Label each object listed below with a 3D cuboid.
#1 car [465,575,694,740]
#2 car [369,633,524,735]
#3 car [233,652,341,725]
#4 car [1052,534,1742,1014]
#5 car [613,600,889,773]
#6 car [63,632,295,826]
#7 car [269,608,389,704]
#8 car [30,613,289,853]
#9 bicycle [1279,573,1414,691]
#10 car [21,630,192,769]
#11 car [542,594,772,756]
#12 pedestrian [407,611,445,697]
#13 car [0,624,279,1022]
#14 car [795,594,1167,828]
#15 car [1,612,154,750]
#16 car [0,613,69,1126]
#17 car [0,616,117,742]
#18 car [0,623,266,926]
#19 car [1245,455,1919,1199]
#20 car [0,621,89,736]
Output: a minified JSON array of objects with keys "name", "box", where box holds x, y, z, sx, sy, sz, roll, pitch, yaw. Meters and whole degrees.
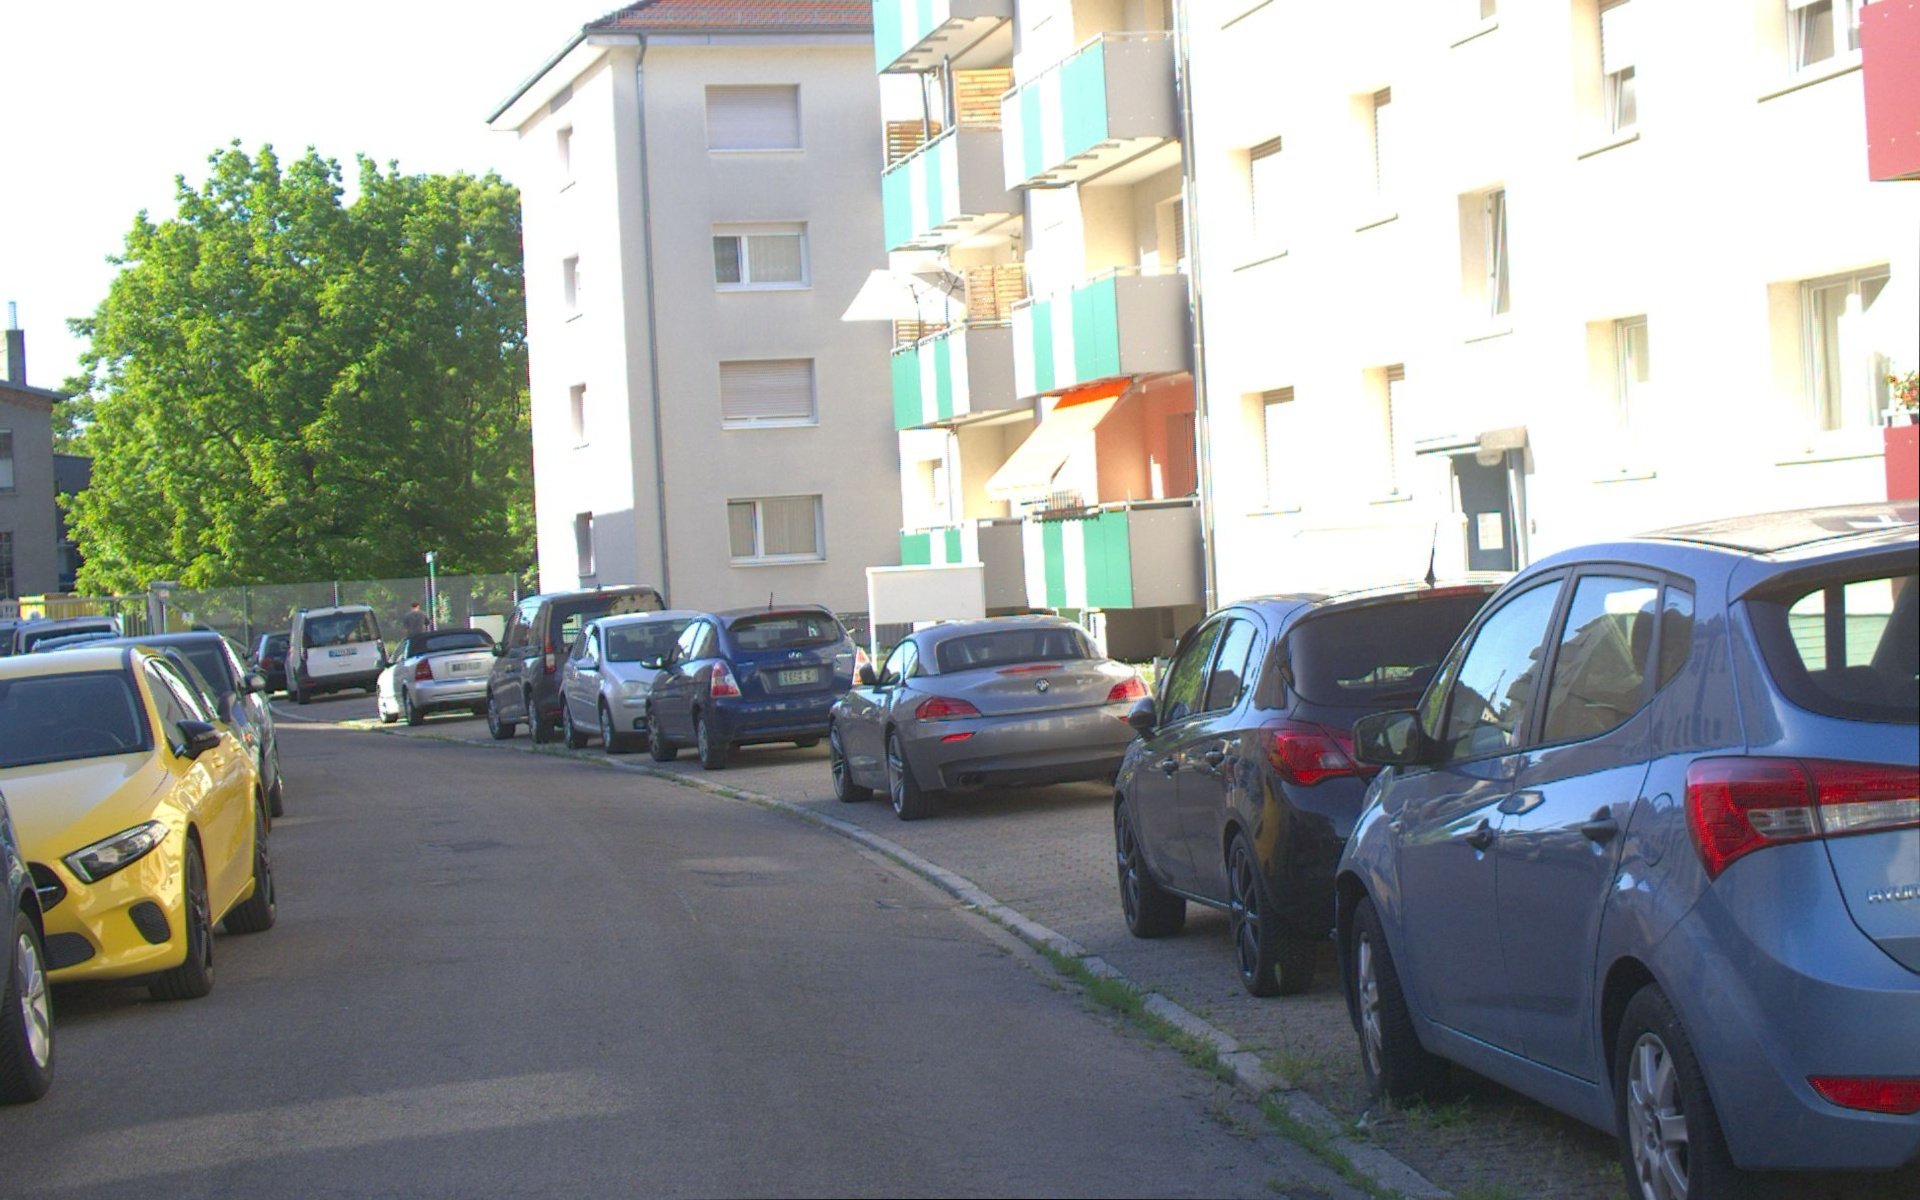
[{"name":"car","box":[-4.811,0.756,42.971,1.896,1.849,4.344,-3,-1,-18]},{"name":"car","box":[-7.974,1.268,53.092,1.717,1.359,4.056,-5,1,-17]},{"name":"car","box":[-14.384,1.895,73.317,1.765,1.358,4.095,-5,0,-17]},{"name":"car","box":[1.590,0.619,13.939,1.735,1.503,3.886,-6,0,-7]},{"name":"car","box":[-2.107,0.836,33.383,1.737,1.427,4.357,-5,0,-15]},{"name":"car","box":[-6.926,1.110,30.642,1.743,1.426,4.599,-5,0,-12]},{"name":"car","box":[-12.615,1.137,68.595,1.765,1.734,4.095,-5,0,-17]},{"name":"car","box":[-5.829,0.939,25.350,1.478,1.472,3.632,-7,0,-10]},{"name":"bicycle","box":[3.800,0.304,33.959,0.649,1.064,1.733,-8,2,-13]},{"name":"car","box":[-10.221,1.183,41.021,1.658,1.438,3.872,-5,0,-17]},{"name":"car","box":[-3.406,0.824,37.990,1.681,1.582,4.013,-4,0,-16]},{"name":"pedestrian","box":[-11.596,1.173,74.612,0.654,1.809,0.614,-5,0,-7]},{"name":"car","box":[-3.953,0.864,14.603,1.693,1.384,4.157,-4,0,-7]},{"name":"car","box":[0.047,0.745,24.347,1.685,1.358,4.241,-5,0,-12]},{"name":"car","box":[-13.100,1.217,50.885,1.896,1.849,4.196,-3,-1,-17]},{"name":"car","box":[-3.516,0.823,8.973,1.693,1.440,4.021,-4,0,-7]},{"name":"car","box":[-12.433,1.086,46.084,1.832,1.510,4.001,-5,0,-18]},{"name":"car","box":[-4.903,0.926,19.882,1.568,1.459,4.263,-5,0,-11]},{"name":"car","box":[2.065,0.501,8.774,1.765,1.630,4.042,-5,0,-7]},{"name":"car","box":[-17.914,1.537,65.895,1.993,2.007,4.455,-5,0,-17]}]
